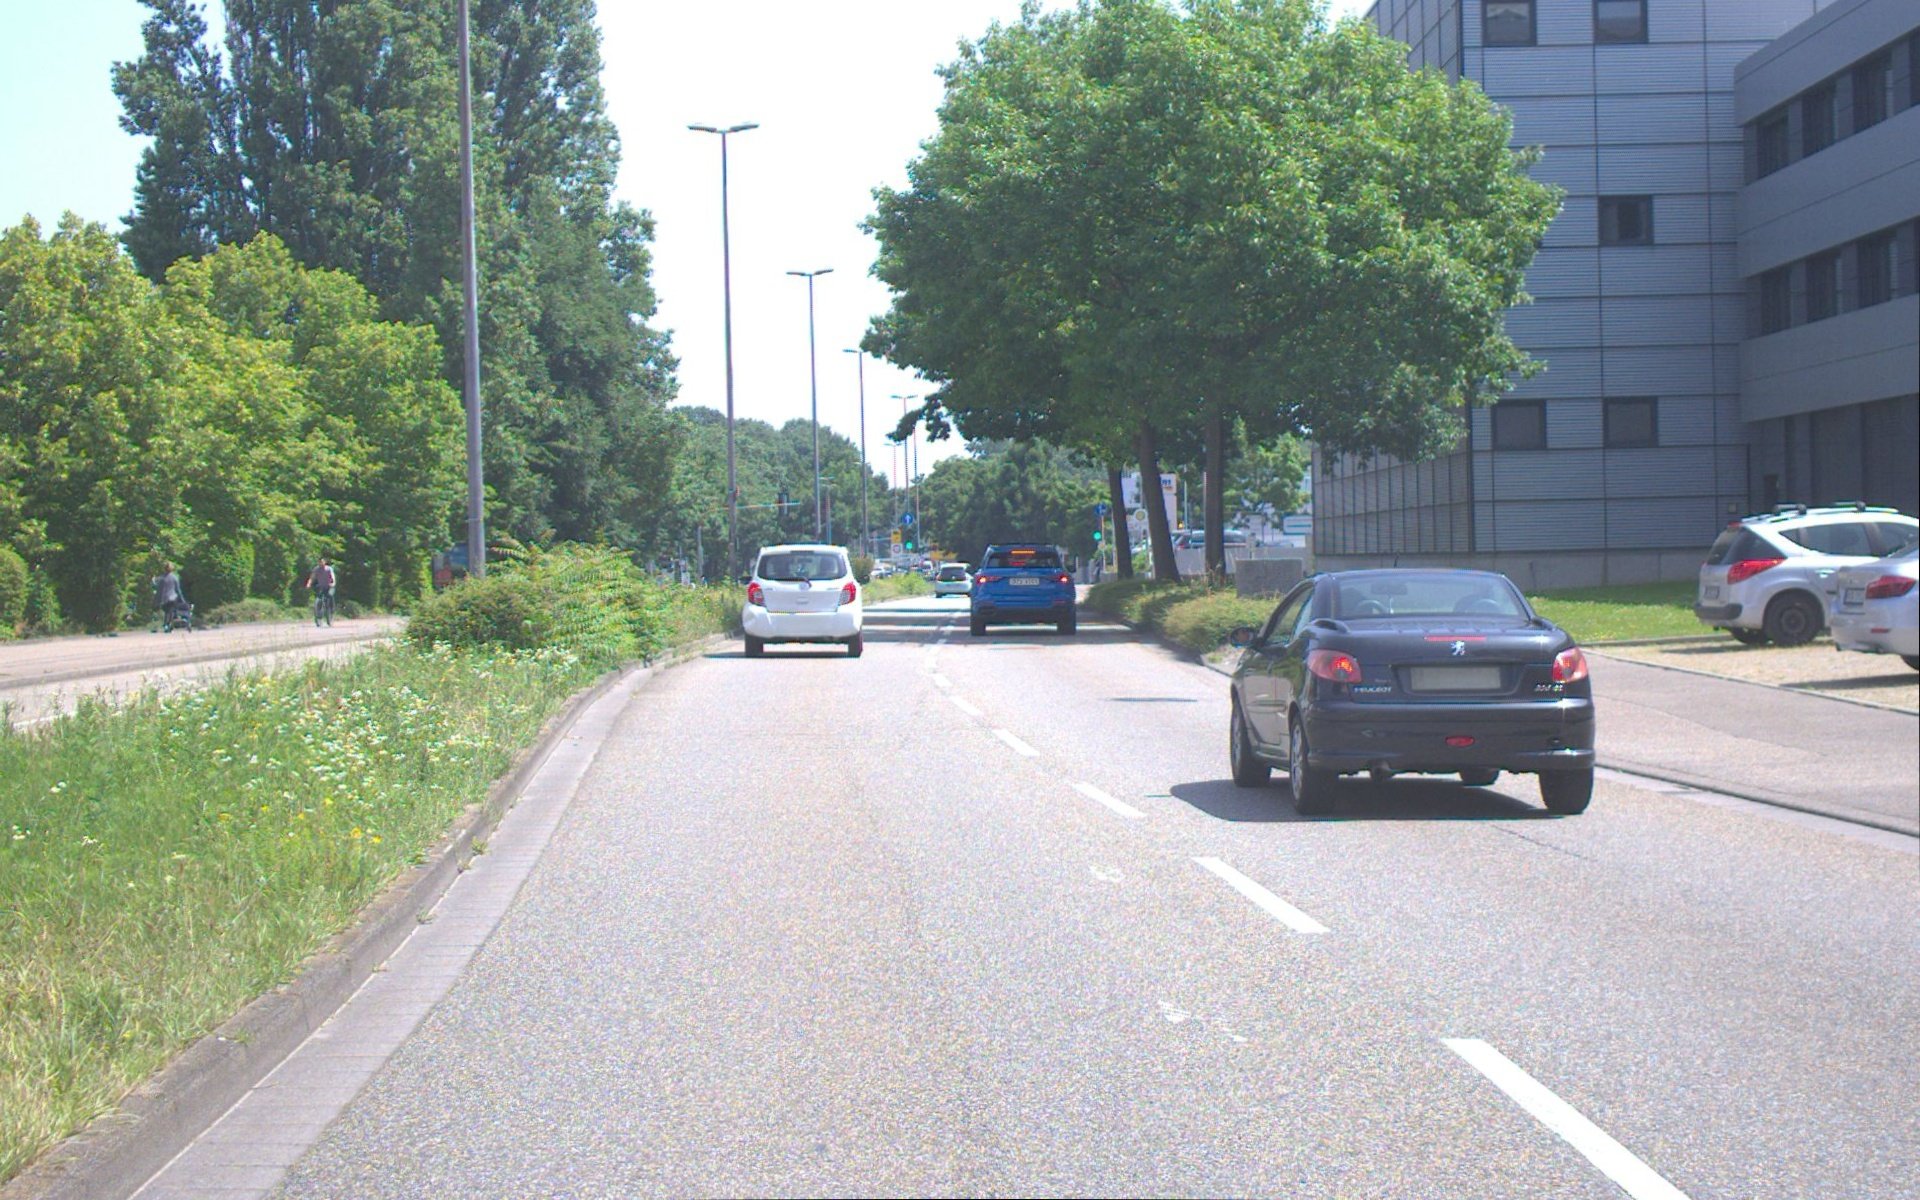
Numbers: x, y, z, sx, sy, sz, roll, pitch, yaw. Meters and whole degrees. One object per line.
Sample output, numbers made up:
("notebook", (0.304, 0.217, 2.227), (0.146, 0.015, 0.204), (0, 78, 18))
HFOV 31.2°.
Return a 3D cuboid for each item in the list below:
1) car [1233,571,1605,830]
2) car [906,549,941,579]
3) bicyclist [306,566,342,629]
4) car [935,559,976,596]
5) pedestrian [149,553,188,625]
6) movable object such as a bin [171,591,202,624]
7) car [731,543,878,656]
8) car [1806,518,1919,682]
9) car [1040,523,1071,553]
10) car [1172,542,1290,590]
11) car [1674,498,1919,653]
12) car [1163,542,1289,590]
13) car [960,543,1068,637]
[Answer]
("car", (2.596, 0.520, 20.164), (1.627, 1.359, 3.605), (0, 1, -1))
("car", (-2.118, -2.088, 200.004), (1.819, 1.656, 4.001), (-1, 1, -4))
("bicyclist", (-15.559, -0.058, 84.110), (0.717, 1.511, 1.027), (-2, 0, -3))
("car", (-0.230, -1.055, 158.430), (1.819, 1.656, 4.000), (-1, 0, 0))
("pedestrian", (-17.323, -0.242, 75.279), (0.633, 1.539, 0.727), (-2, 0, 0))
("movable object such as a bin", (-16.855, 0.153, 74.941), (0.428, 0.703, 0.652), (-2, 0, 9))
("car", (-2.129, -0.028, 47.921), (1.748, 1.515, 3.745), (0, 1, 2))
("car", (10.137, -0.077, 30.648), (4.612, 1.385, 2.000), (-2, 1, -3))
("car", (6.654, -4.321, 239.202), (1.769, 2.007, 3.991), (-2, 1, -3))
("car", (9.756, -1.228, 124.041), (3.986, 1.613, 2.000), (-1, 0, -3))
("car", (10.325, -0.332, 39.300), (3.812, 1.586, 1.732), (-4, 0, -4))
("car", (9.894, -1.261, 128.019), (4.499, 1.577, 2.000), (-2, 0, 0))
("car", (0.991, -0.199, 60.933), (1.828, 1.575, 3.605), (-1, 1, 2))
